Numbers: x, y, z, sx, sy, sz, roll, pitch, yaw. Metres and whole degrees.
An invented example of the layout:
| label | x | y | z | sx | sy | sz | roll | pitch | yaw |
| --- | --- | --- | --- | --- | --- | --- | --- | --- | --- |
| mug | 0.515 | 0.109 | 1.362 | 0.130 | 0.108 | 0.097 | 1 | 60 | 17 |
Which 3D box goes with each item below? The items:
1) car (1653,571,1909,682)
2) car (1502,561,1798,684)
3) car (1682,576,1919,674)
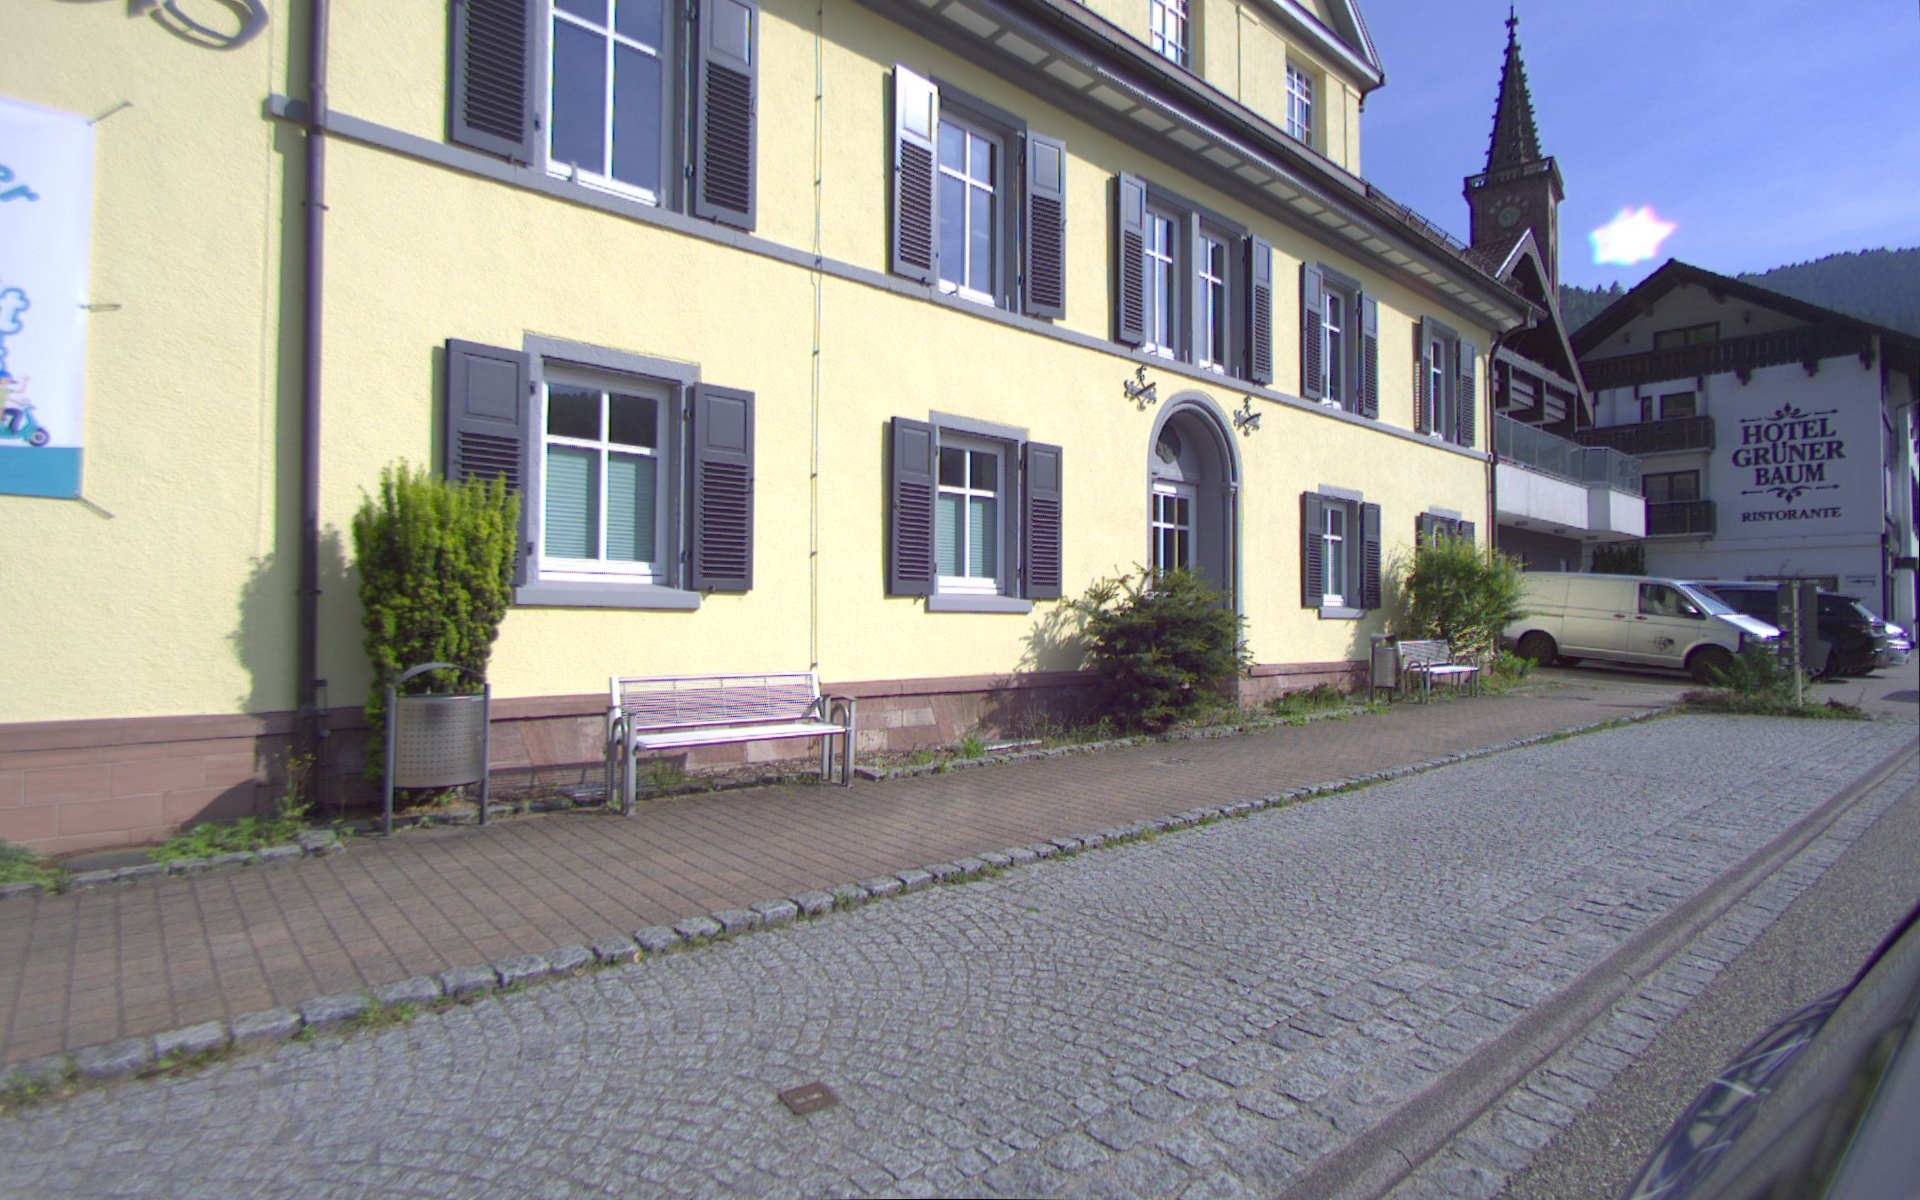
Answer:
| label | x | y | z | sx | sy | sz | roll | pitch | yaw |
| --- | --- | --- | --- | --- | --- | --- | --- | --- | --- |
| car | 16.549 | 0.449 | 20.563 | 1.346 | 1.916 | 3.758 | 1 | 3 | -38 |
| car | 13.481 | 0.334 | 20.050 | 1.682 | 1.982 | 4.457 | 1 | 3 | -38 |
| car | 18.518 | 0.468 | 22.213 | 1.654 | 1.905 | 3.998 | 1 | 1 | -38 |
